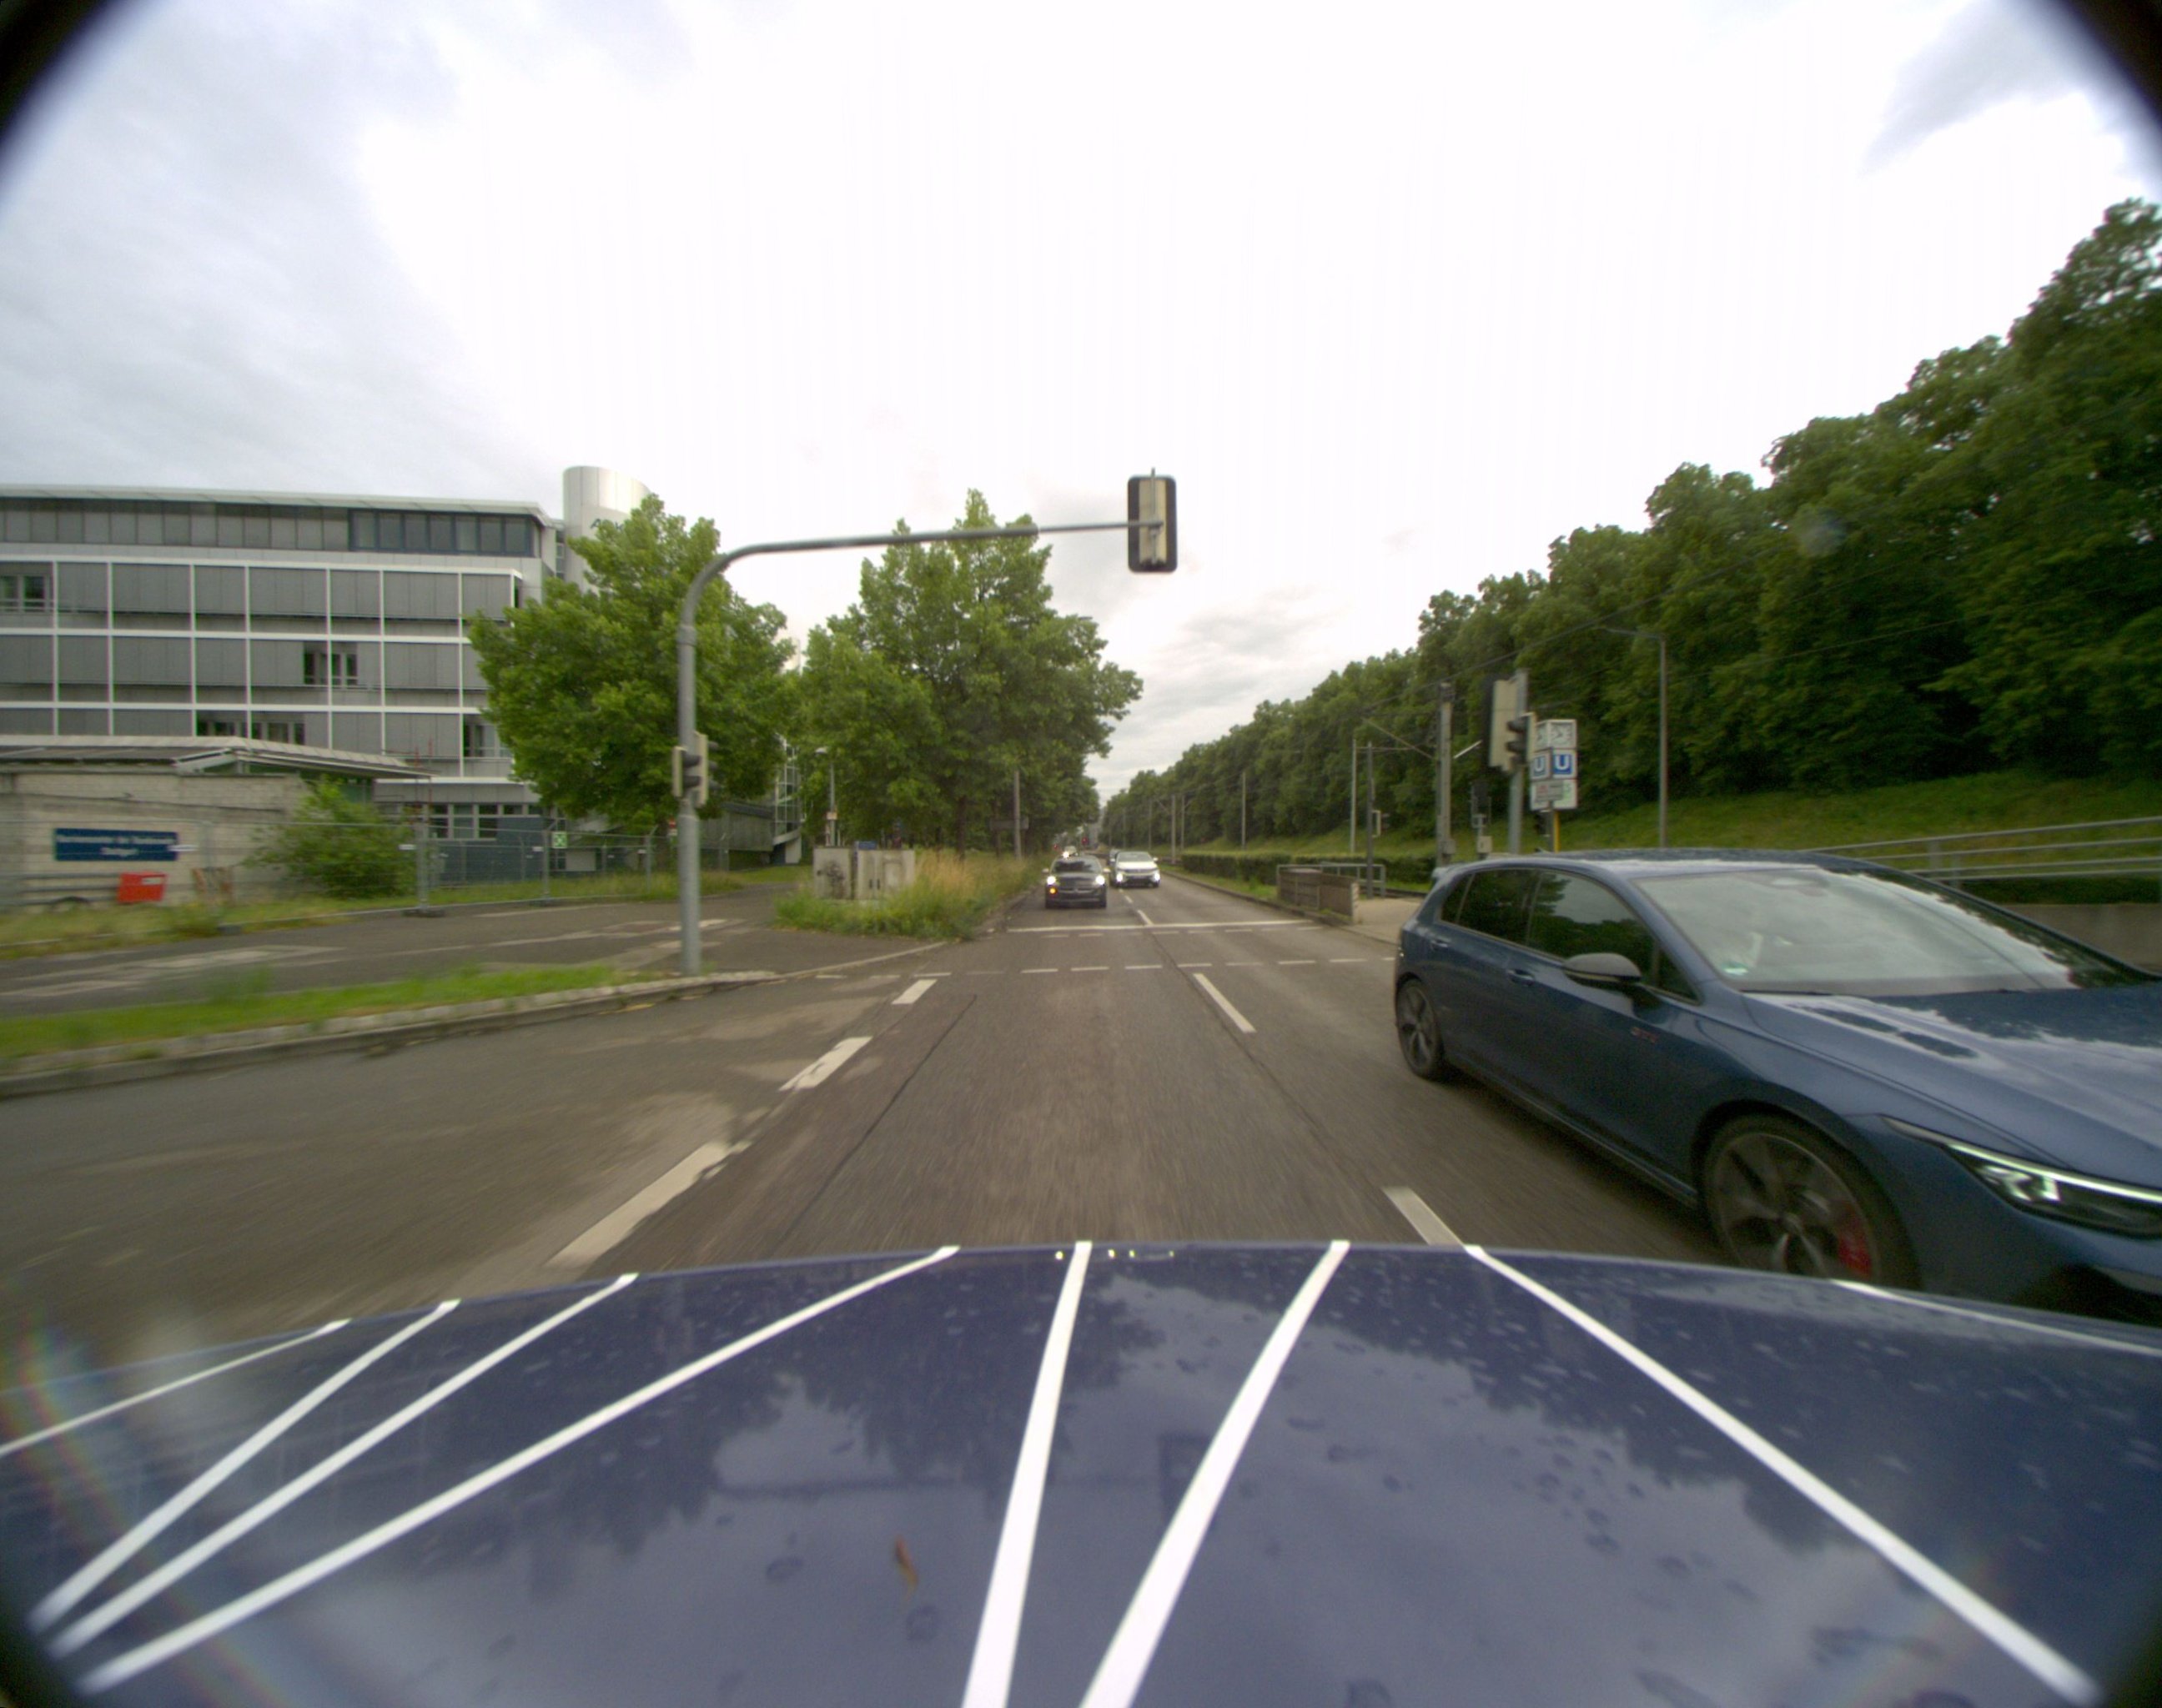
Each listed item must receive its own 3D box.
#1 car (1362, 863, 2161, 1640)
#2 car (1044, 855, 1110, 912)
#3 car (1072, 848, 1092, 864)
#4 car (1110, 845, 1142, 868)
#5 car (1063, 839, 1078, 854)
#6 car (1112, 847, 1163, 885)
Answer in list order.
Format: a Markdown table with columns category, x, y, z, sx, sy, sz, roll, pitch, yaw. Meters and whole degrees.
| category | x | y | z | sx | sy | sz | roll | pitch | yaw |
| --- | --- | --- | --- | --- | --- | --- | --- | --- | --- |
| car | 2.990 | 0.800 | 3.412 | 1.813 | 1.370 | 4.346 | -2 | 0 | 0 |
| car | -0.158 | 0.781 | 22.280 | 1.711 | 1.425 | 4.427 | -2 | 1 | -2 |
| car | 0.069 | 0.219 | 77.304 | 1.960 | 1.469 | 4.698 | -3 | 1 | -1 |
| car | 3.254 | 0.157 | 56.260 | 1.960 | 1.472 | 4.698 | -3 | 1 | -1 |
| car | -1.538 | -1.094 | 110.906 | 1.961 | 1.914 | 4.843 | -3 | 1 | -3 |
| car | 2.352 | 0.469 | 32.591 | 1.960 | 1.457 | 4.699 | -1 | 1 | 2 |
